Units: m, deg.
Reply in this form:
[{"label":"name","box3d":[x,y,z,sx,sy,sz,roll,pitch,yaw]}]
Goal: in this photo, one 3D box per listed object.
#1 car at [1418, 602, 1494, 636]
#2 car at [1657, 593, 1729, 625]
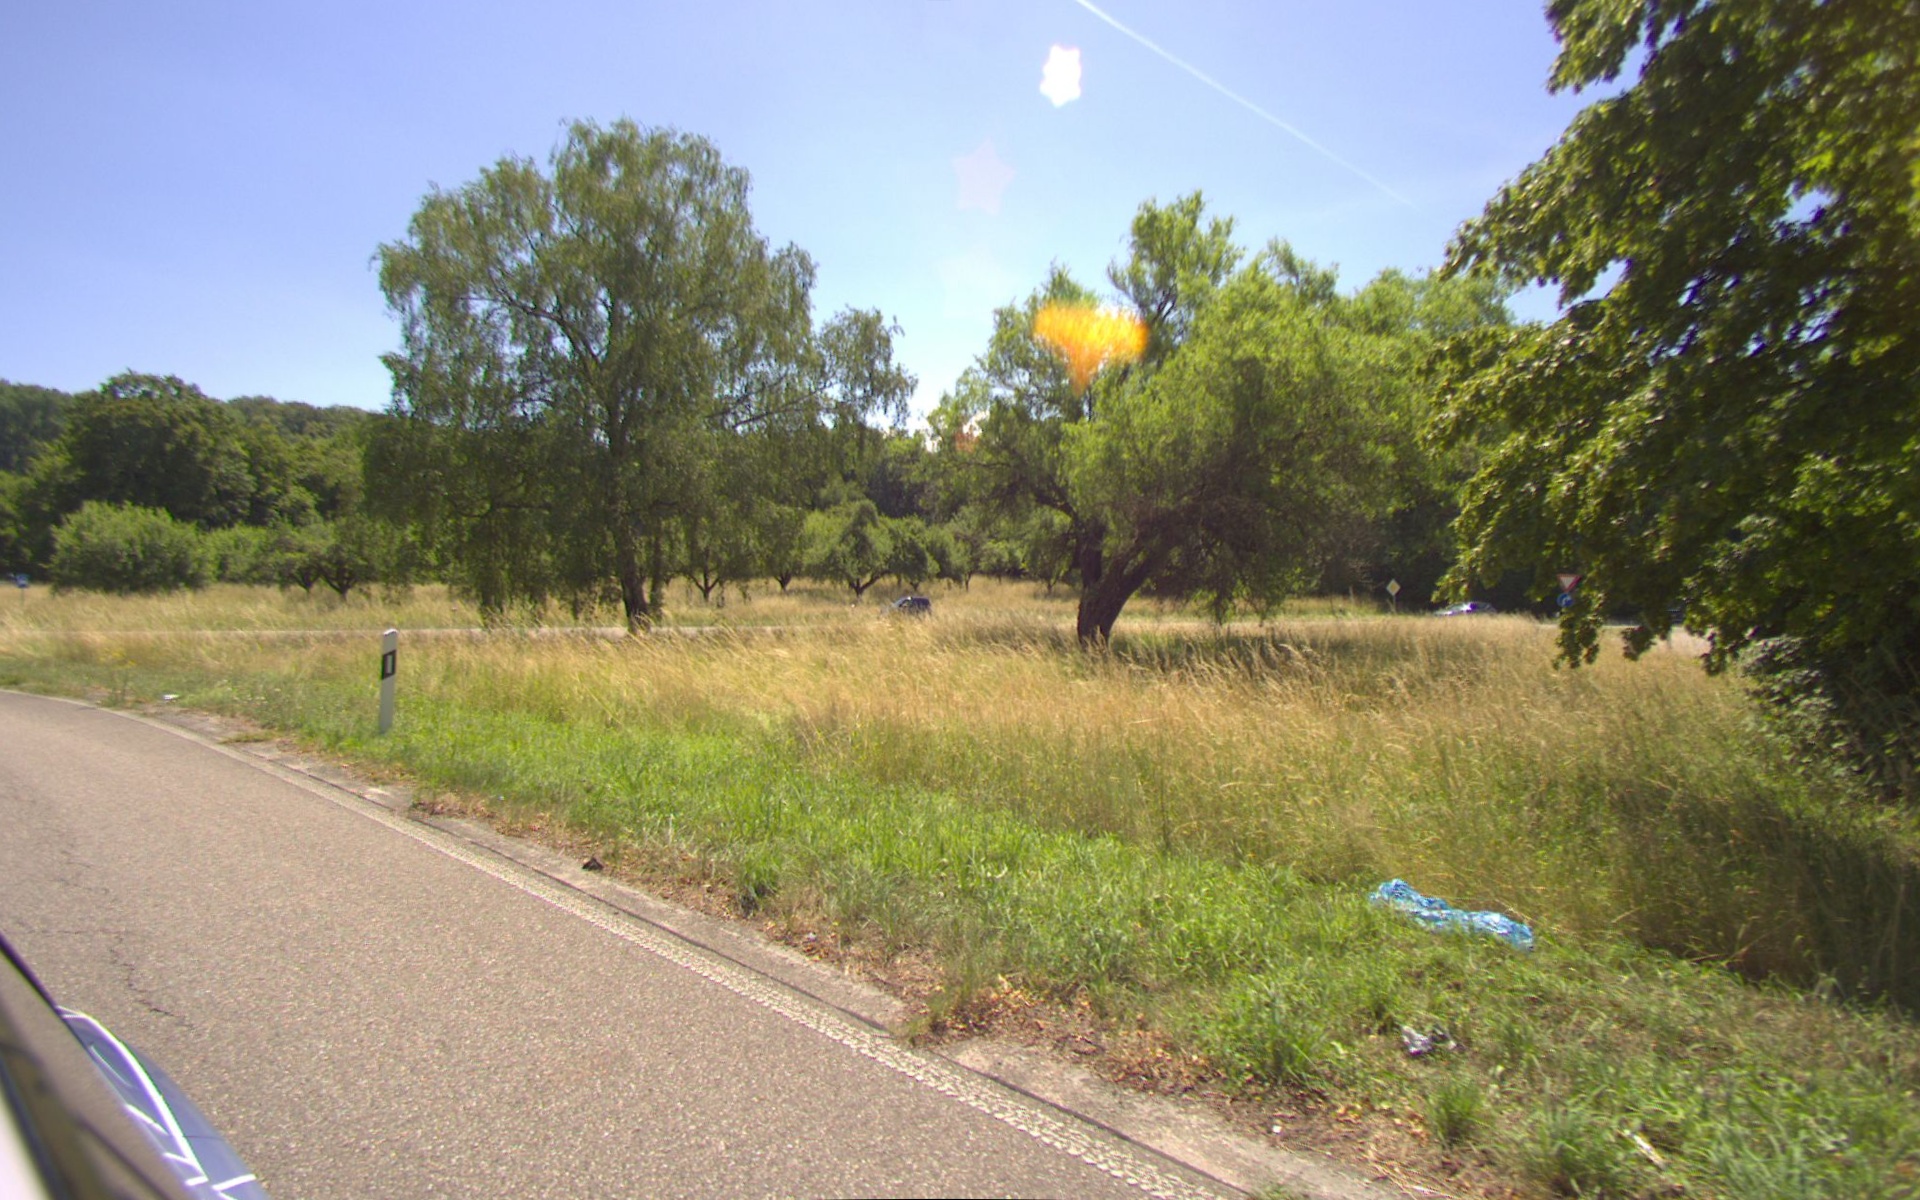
[{"label":"car","box3d":[31.159,1.167,63.581,3.931,2.029,2.006,1,1,-17]},{"label":"car","box3d":[46.815,0.561,64.652,4.018,1.962,2.007,0,1,-24]}]
